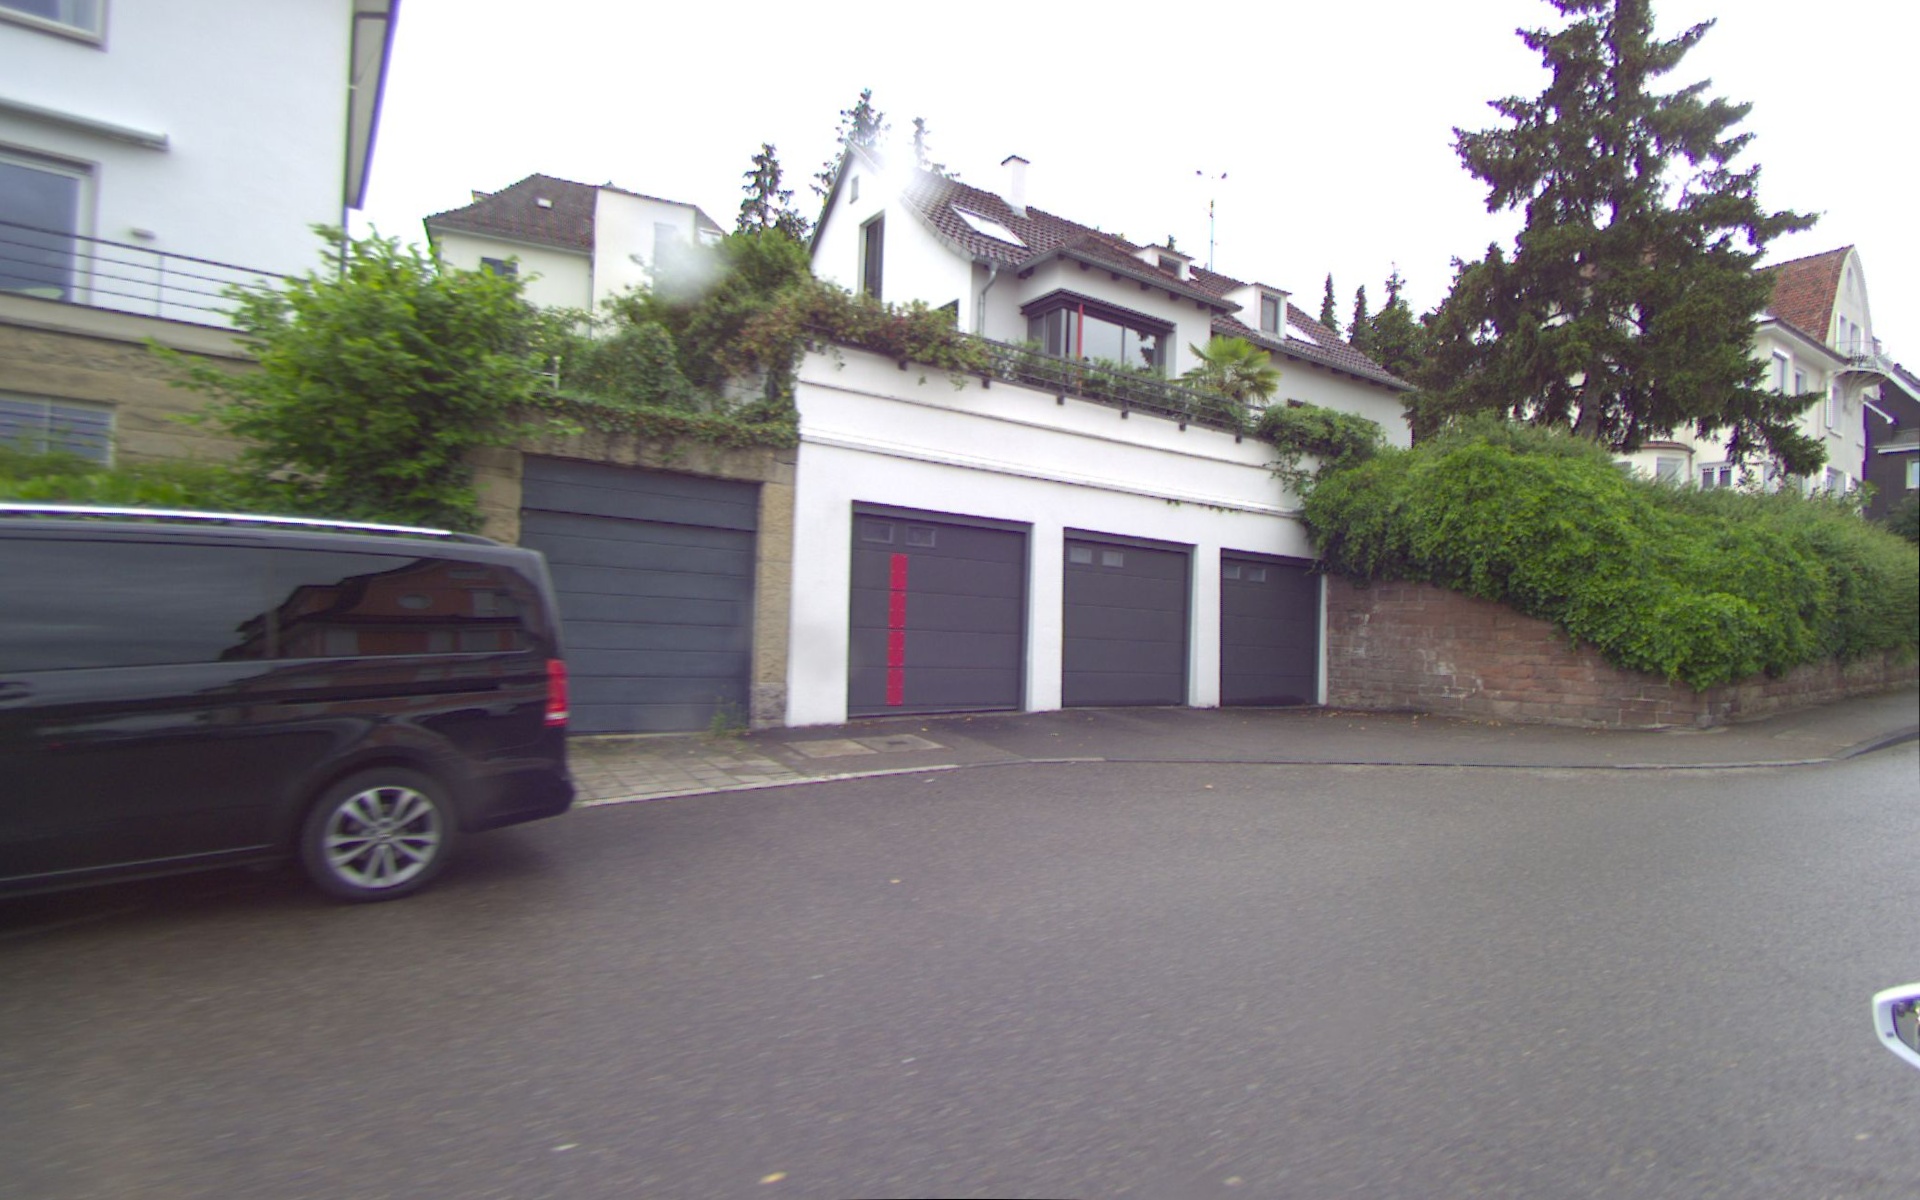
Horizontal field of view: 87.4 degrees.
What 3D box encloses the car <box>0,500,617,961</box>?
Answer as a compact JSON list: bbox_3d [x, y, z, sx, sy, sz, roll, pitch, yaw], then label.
[{"bbox_3d":[-4.757,0.520,4.792,5.542,1.885,2.113,1,0,-37],"label":"car"}]
